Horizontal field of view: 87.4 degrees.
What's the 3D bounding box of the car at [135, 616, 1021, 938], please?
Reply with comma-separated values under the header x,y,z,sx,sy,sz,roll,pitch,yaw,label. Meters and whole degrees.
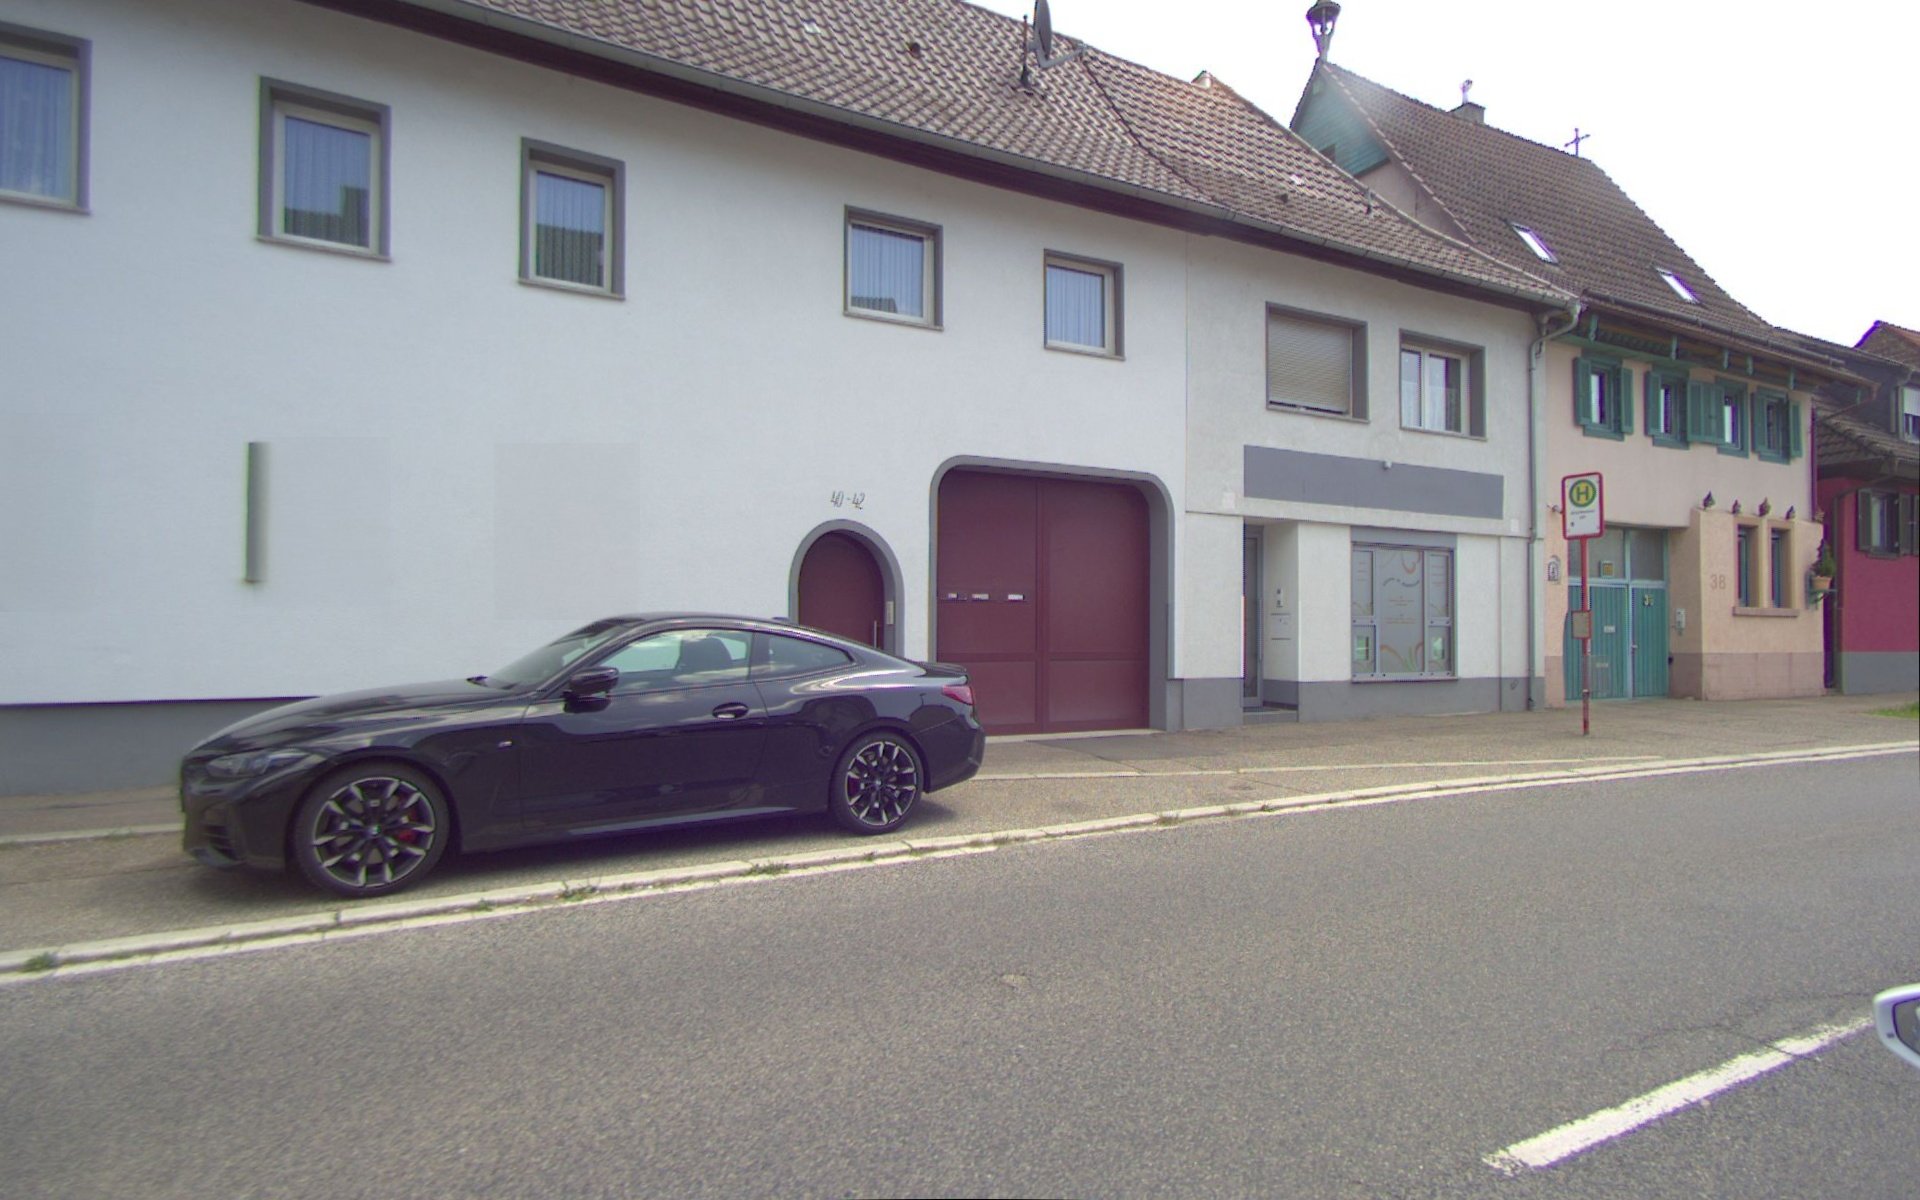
x,y,z,sx,sy,sz,roll,pitch,yaw,label
-2.026,0.798,6.347,4.703,1.367,1.756,0,0,-32,car
